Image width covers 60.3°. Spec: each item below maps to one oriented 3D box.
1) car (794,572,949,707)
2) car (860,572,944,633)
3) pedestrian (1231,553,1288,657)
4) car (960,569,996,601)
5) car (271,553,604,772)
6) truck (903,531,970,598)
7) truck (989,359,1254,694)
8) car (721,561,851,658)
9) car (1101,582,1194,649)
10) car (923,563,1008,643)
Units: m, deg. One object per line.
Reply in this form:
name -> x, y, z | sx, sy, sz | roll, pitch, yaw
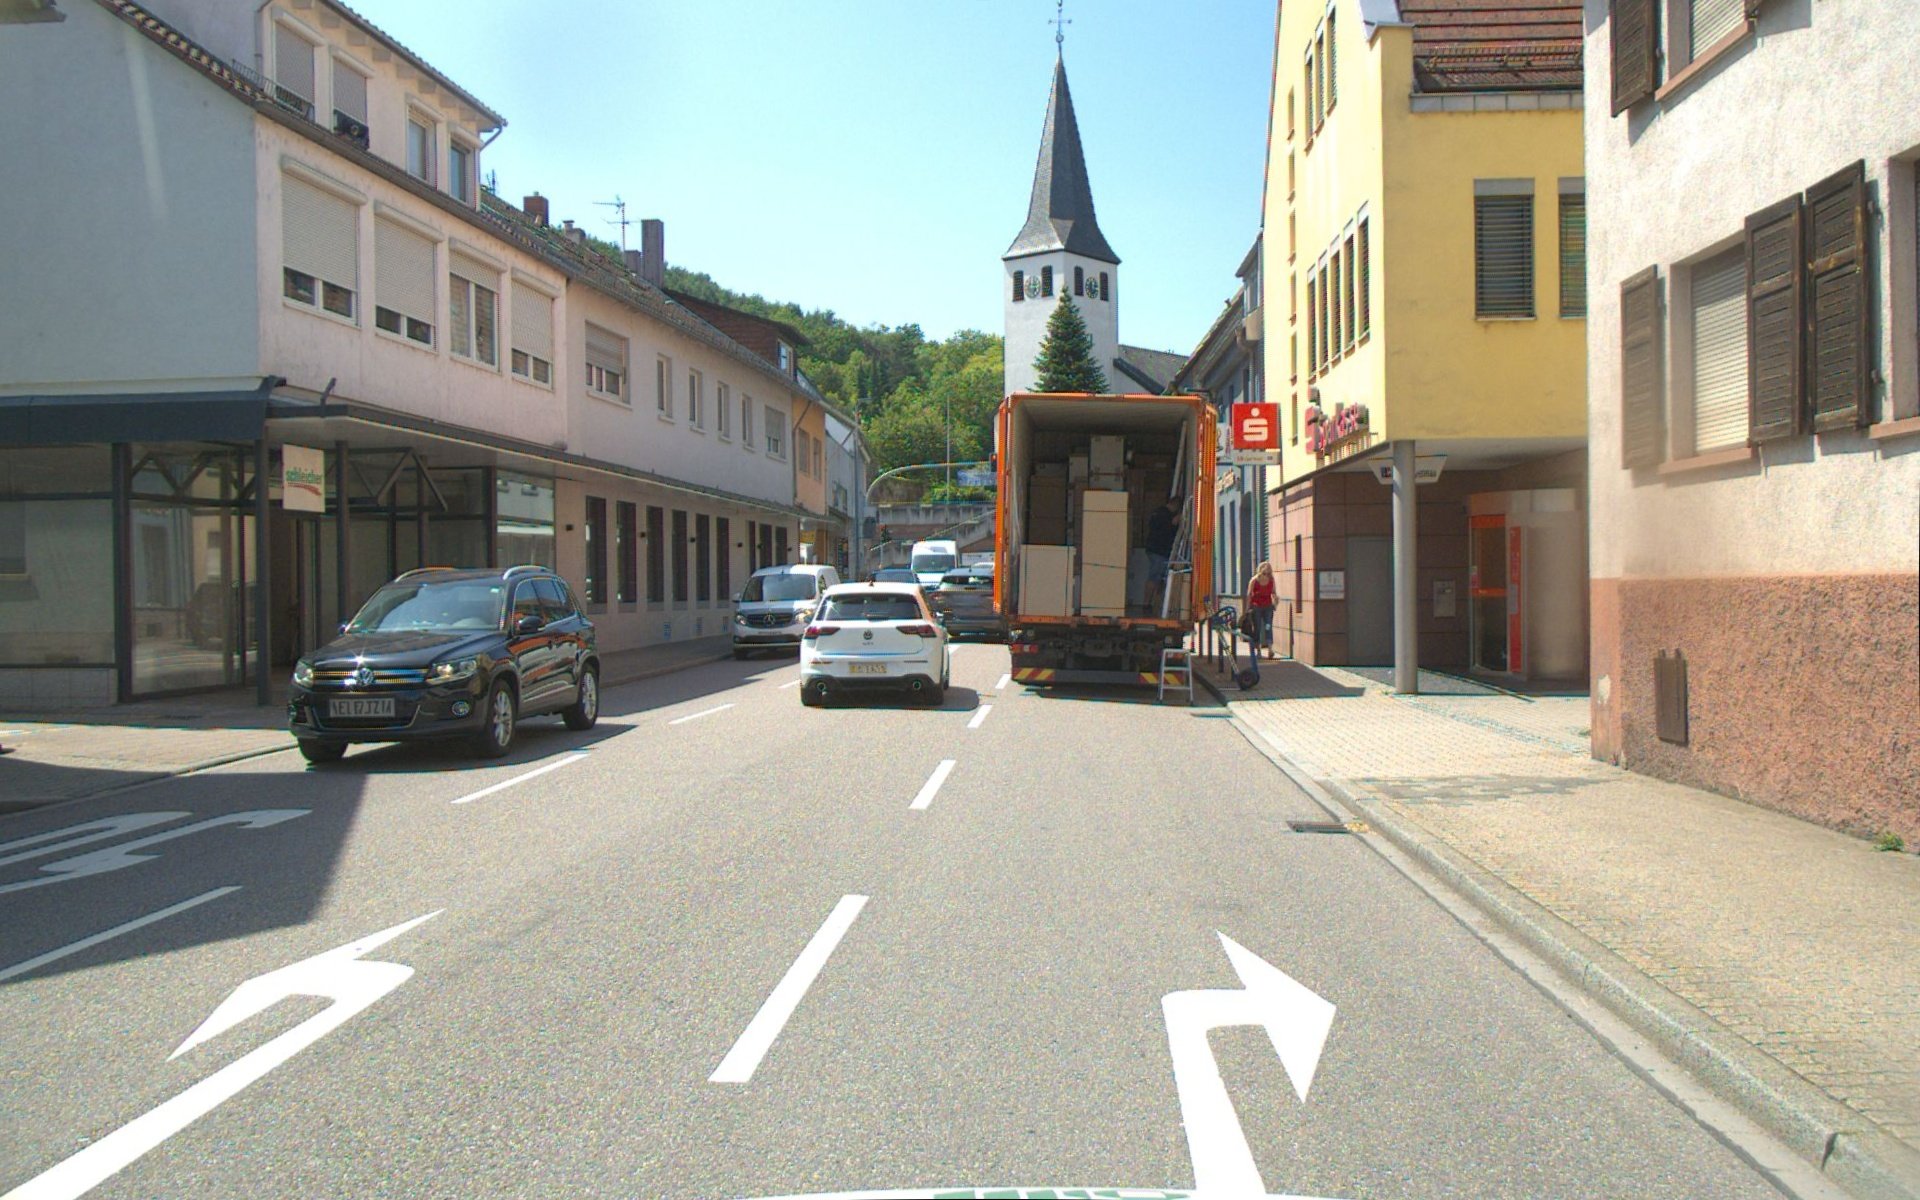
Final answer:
car -> -1.044, 0.470, 21.051 | 1.778, 1.545, 3.999 | 0, 0, -1
car -> -1.669, 0.070, 49.105 | 1.951, 1.680, 4.002 | -2, 0, 5
pedestrian -> 5.238, 0.096, 28.992 | 0.753, 1.773, 0.870 | -2, -1, -3
car -> 0.939, -0.771, 85.069 | 1.725, 1.524, 4.000 | -2, 0, 1
car -> -4.697, 0.460, 15.528 | 1.656, 1.728, 4.113 | -2, 1, 2
truck -> -0.897, -1.400, 67.636 | 2.073, 2.517, 5.739 | -2, 0, 5
truck -> 2.209, -0.935, 26.200 | 3.297, 4.243, 9.520 | -2, 0, 1
car -> -3.499, 0.149, 34.084 | 1.763, 1.811, 4.708 | -2, 1, 5
car -> 4.628, 0.377, 41.357 | 1.778, 1.545, 3.999 | -2, 0, -1
car -> 0.088, 0.077, 37.587 | 1.778, 1.657, 3.999 | -2, 0, -1
